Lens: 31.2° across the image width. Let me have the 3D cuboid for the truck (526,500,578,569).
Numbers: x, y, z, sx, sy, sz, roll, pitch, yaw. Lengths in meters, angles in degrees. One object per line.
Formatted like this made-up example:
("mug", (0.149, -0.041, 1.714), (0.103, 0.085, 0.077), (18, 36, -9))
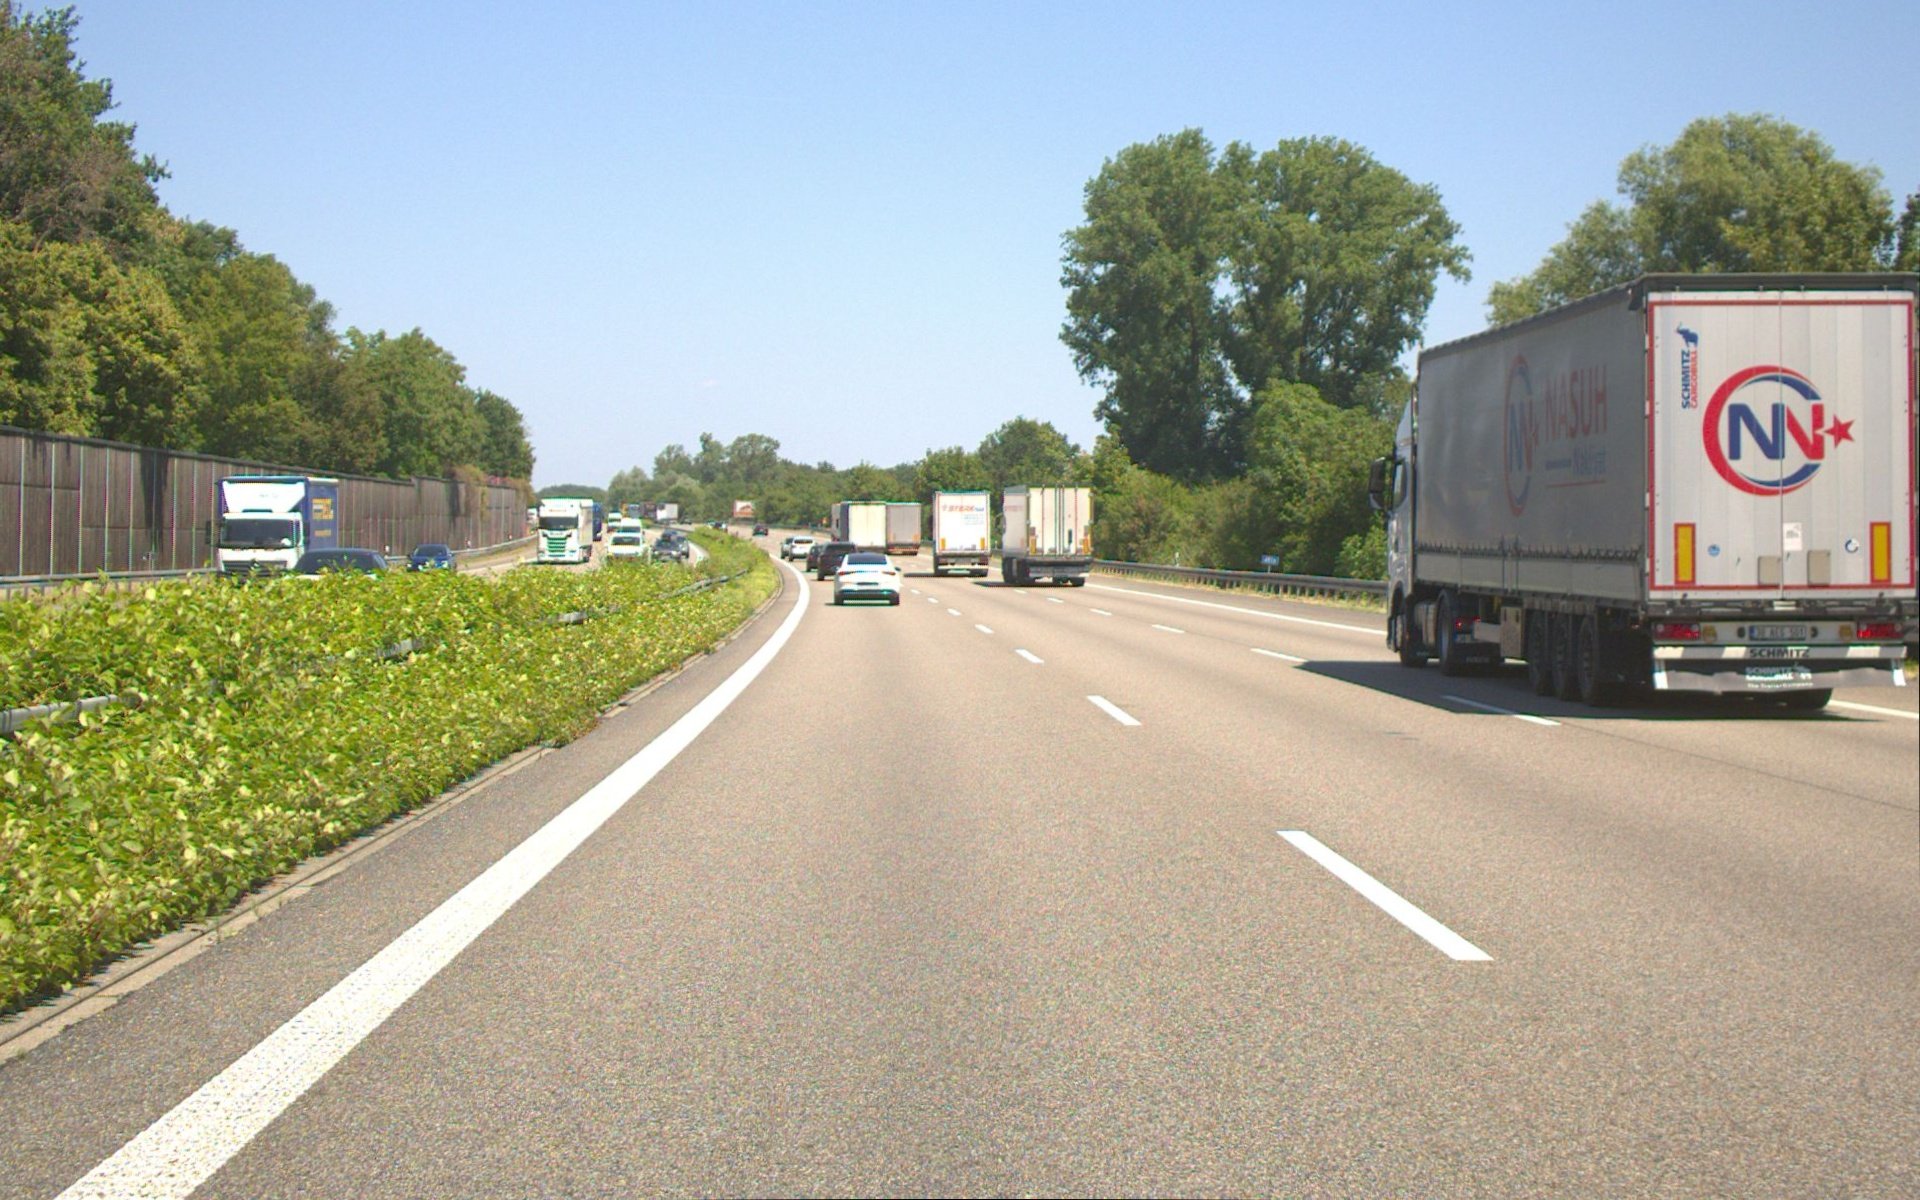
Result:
("truck", (-25.090, -4.023, 211.520), (2.730, 4.178, 6.037), (0, 1, -3))

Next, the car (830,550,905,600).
("car", (-2.595, -0.711, 97.086), (1.716, 1.365, 3.374), (1, 1, 5))

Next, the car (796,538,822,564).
("car", (-10.235, -3.330, 232.963), (1.723, 1.777, 4.001), (0, 1, -3))

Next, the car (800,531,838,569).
("car", (-7.594, -2.691, 184.354), (1.993, 2.007, 4.001), (0, 1, -3))

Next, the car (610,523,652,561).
("car", (-17.354, -3.050, 181.353), (1.926, 1.939, 4.609), (0, 1, -2))

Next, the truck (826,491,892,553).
("truck", (-7.224, -5.503, 244.728), (3.579, 4.296, 12.193), (0, 1, -7))

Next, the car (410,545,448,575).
("car", (-22.297, -1.698, 144.449), (1.279, 1.251, 3.029), (0, 1, -3))

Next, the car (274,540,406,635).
("car", (-10.740, -0.234, 59.776), (1.583, 1.583, 4.000), (1, 1, 0))

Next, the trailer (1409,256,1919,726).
("trailer", (7.367, -1.088, 38.325), (2.624, 4.246, 14.062), (1, 1, -1))

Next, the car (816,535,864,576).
("car", (-5.356, -1.997, 152.919), (1.993, 1.766, 4.001), (0, 1, -3))

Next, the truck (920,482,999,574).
("truck", (-0.078, -3.473, 167.118), (3.359, 4.296, 10.830), (0, 1, -2))

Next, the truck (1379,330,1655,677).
("truck", (7.225, -1.225, 45.283), (2.605, 4.272, 5.436), (1, 1, -1))

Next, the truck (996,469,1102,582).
("truck", (3.466, -2.927, 137.536), (3.492, 4.296, 10.989), (0, 1, -2))

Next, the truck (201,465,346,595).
("truck", (-20.042, -2.030, 100.781), (2.832, 3.597, 8.746), (0, 1, -2))
